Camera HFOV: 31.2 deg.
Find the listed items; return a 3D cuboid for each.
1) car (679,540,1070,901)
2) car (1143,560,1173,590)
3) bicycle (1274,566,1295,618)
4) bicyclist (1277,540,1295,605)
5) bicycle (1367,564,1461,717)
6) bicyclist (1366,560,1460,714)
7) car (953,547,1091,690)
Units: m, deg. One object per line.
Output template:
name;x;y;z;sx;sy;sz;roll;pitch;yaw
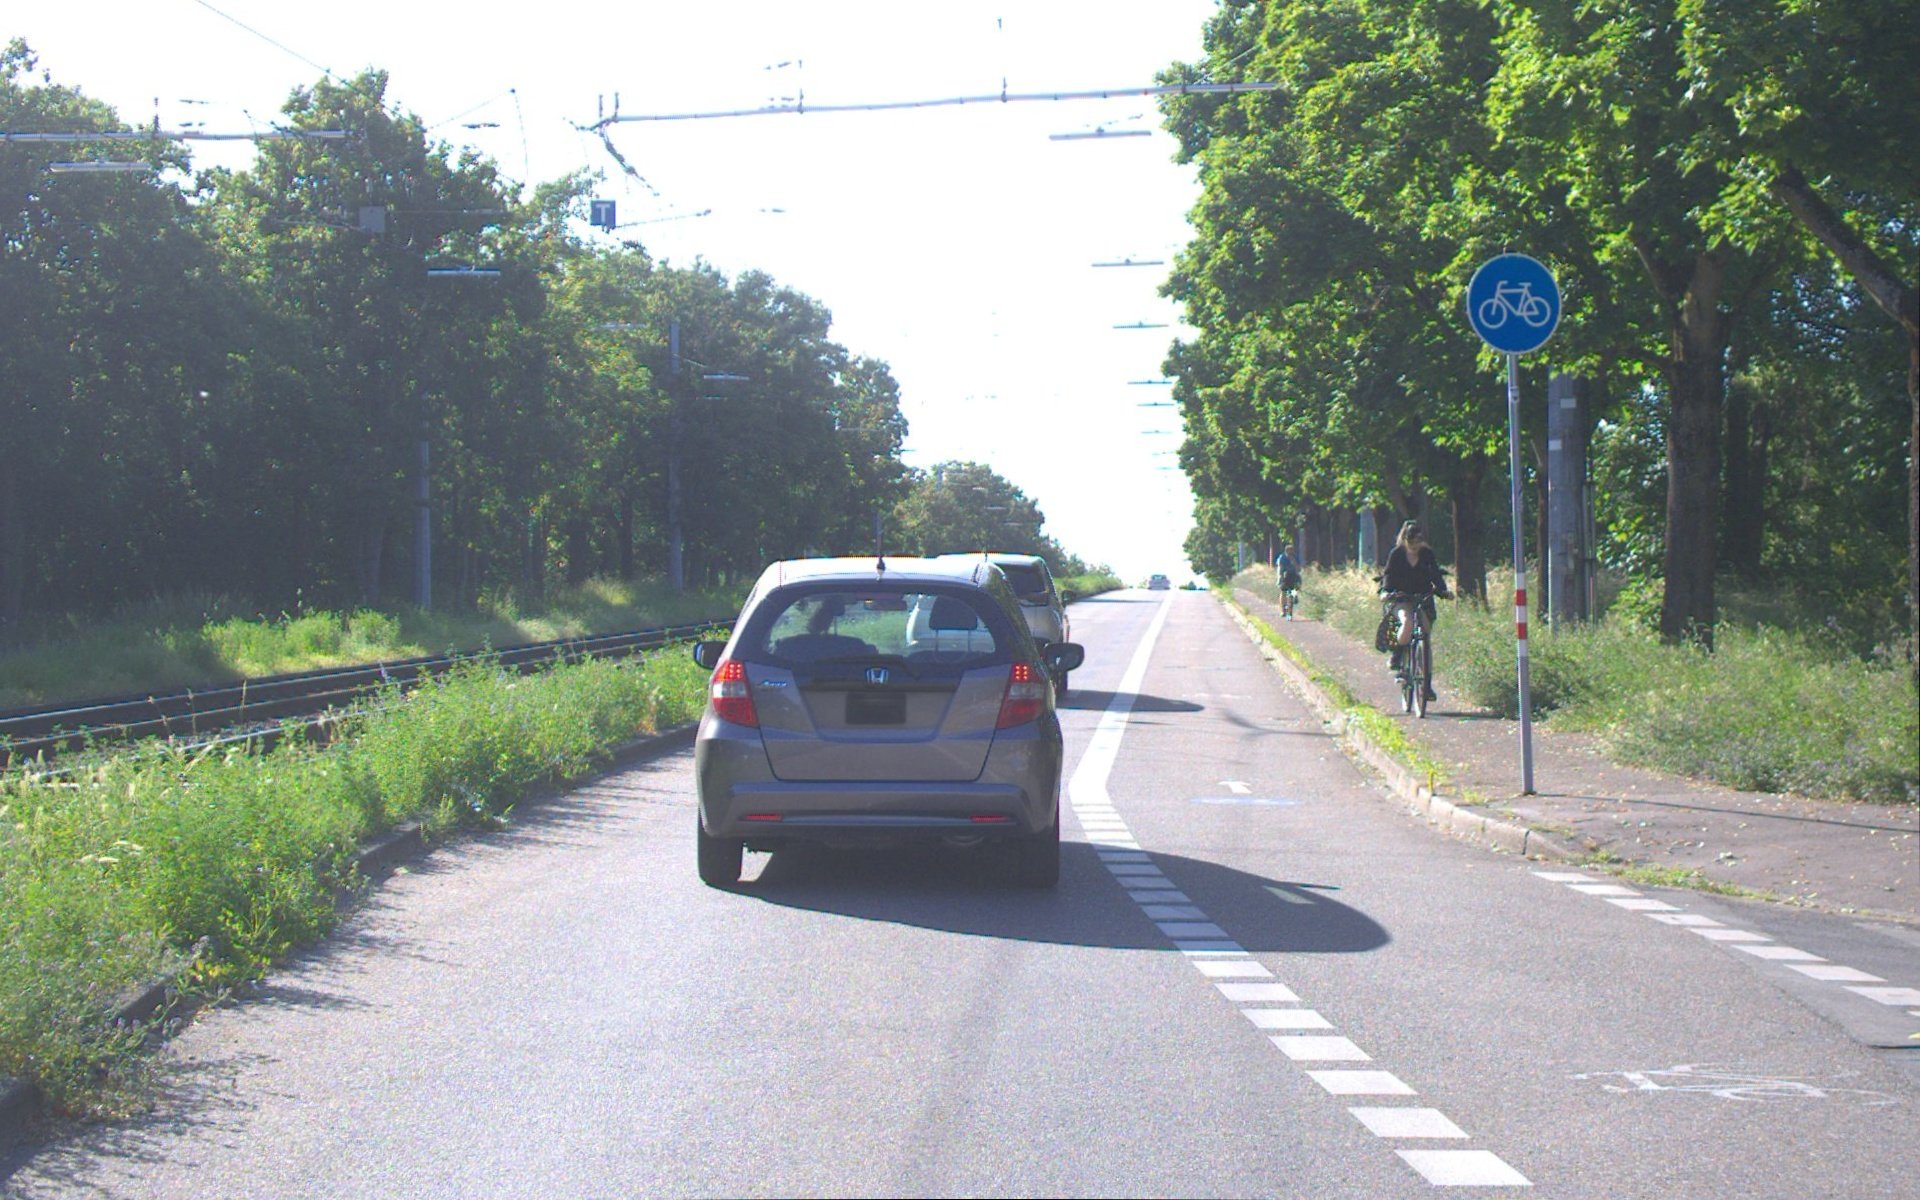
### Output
car;-0.375;0.497;16.894;1.670;1.510;3.674;2;1;0
car;14.914;-1.891;258.650;1.994;2.007;3.999;-5;-1;5
bicycle;7.486;-0.182;79.272;0.418;1.184;1.721;0;1;3
bicyclist;7.558;-0.641;79.679;0.405;1.501;0.574;0;0;3
bicycle;4.098;0.344;31.171;0.619;1.186;2.506;-4;3;4
bicyclist;4.127;0.328;31.345;0.755;1.363;0.806;-1;1;2
car;0.657;0.210;38.438;1.351;1.522;3.123;0;-1;-2
